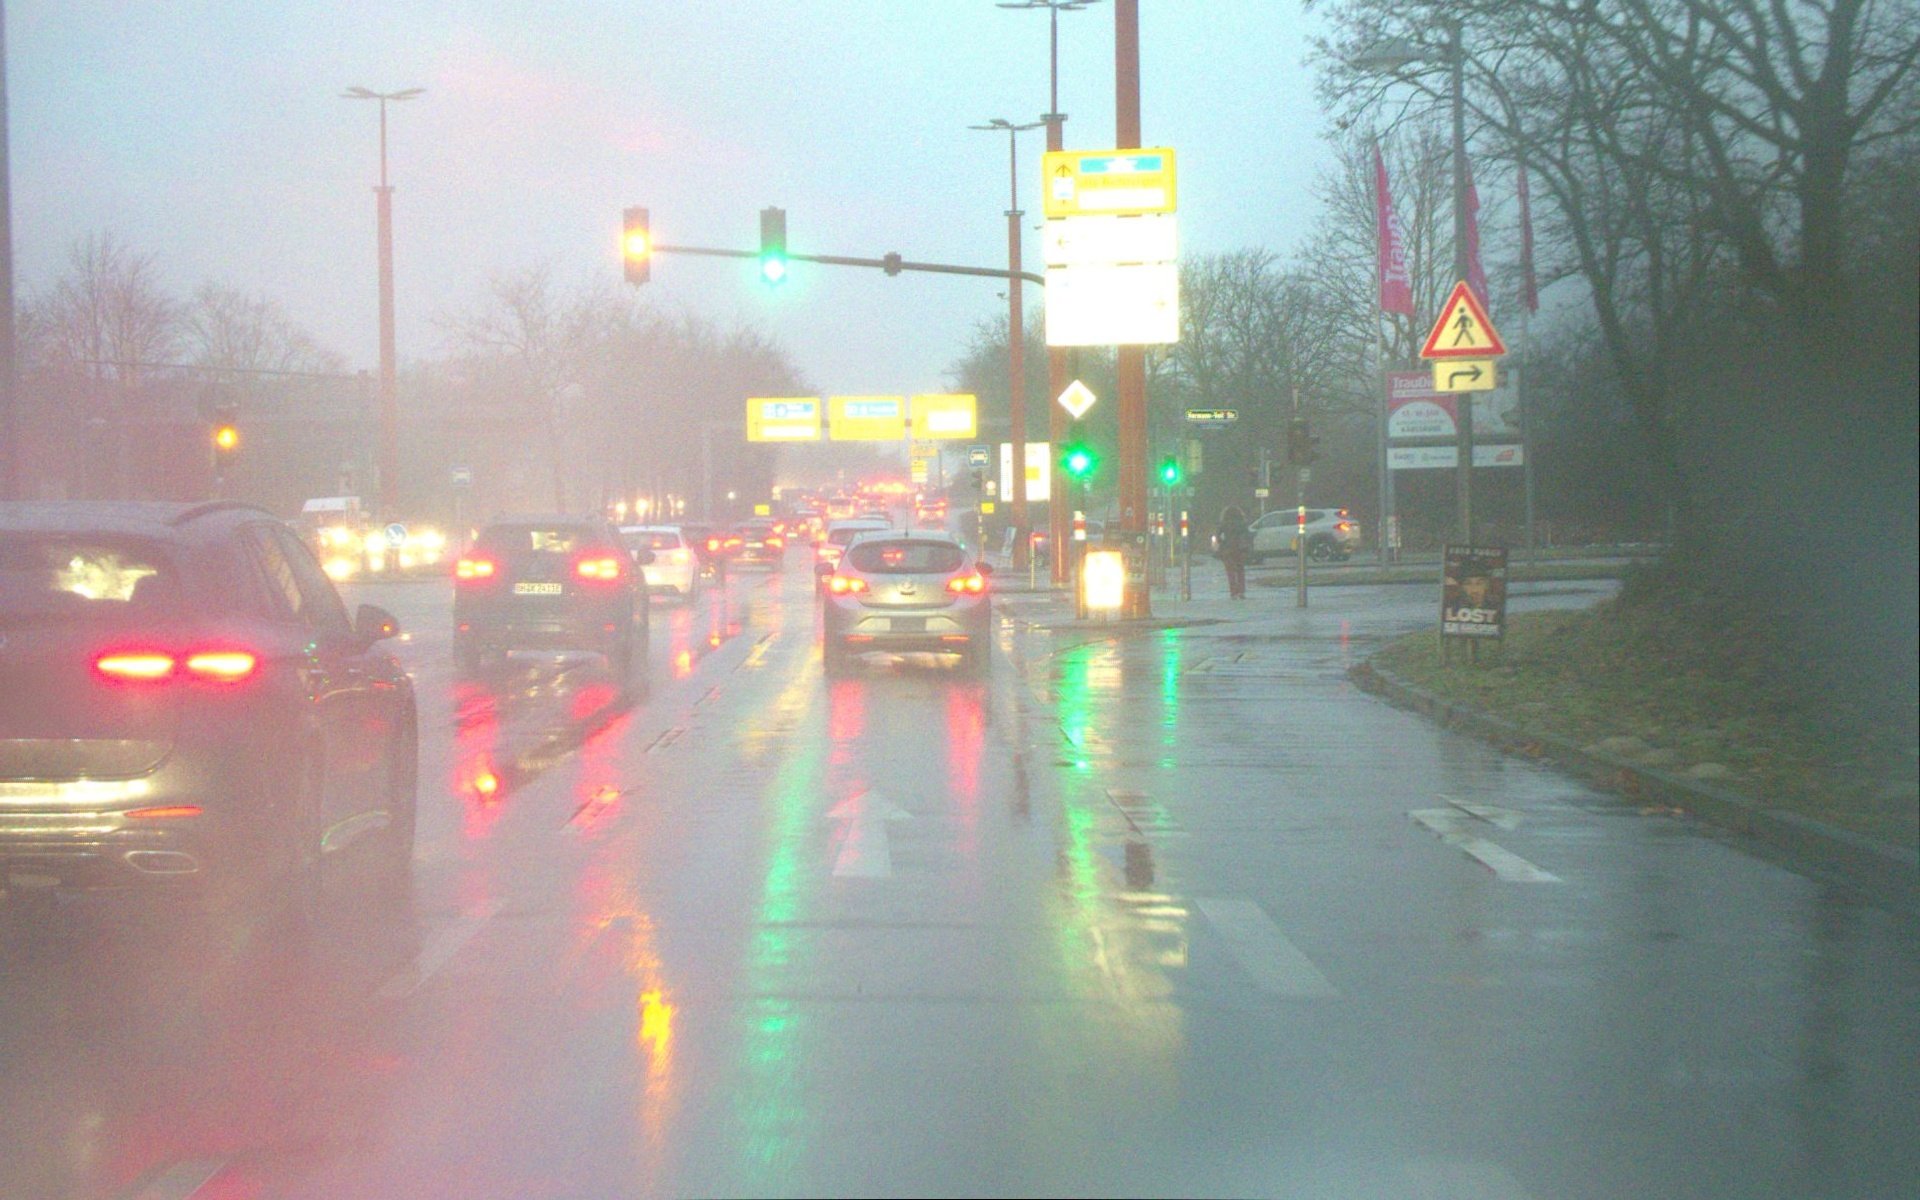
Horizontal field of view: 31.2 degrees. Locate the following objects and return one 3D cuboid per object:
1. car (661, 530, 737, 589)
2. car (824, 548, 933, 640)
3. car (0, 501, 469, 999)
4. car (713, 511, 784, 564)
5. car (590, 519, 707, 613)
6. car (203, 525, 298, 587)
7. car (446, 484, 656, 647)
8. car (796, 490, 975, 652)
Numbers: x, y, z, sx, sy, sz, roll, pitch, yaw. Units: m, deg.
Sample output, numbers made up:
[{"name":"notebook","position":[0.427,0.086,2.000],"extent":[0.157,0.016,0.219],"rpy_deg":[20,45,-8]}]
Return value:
[{"name":"car","position":[-6.065,-0.959,80.195],"extent":[1.505,1.334,4.000],"rpy_deg":[-1,1,-1]},{"name":"car","position":[-1.538,-0.135,65.216],"extent":[1.993,1.656,4.000],"rpy_deg":[1,1,-1]},{"name":"car","position":[-3.155,0.456,13.613],"extent":[1.822,1.642,4.467],"rpy_deg":[-1,1,-1]},{"name":"car","position":[-6.153,-1.839,100.235],"extent":[1.822,1.499,4.000],"rpy_deg":[-1,1,0]},{"name":"car","position":[-5.676,-0.648,63.061],"extent":[1.822,1.642,4.000],"rpy_deg":[-1,1,-1]},{"name":"car","position":[-19.108,-1.211,92.702],"extent":[1.856,1.576,4.080],"rpy_deg":[-1,2,-3]},{"name":"car","position":[-4.351,-0.398,37.070],"extent":[1.822,1.642,4.000],"rpy_deg":[-1,1,-1]},{"name":"car","position":[-0.803,-0.348,37.766],"extent":[1.822,1.642,4.467],"rpy_deg":[-1,1,-1]}]
